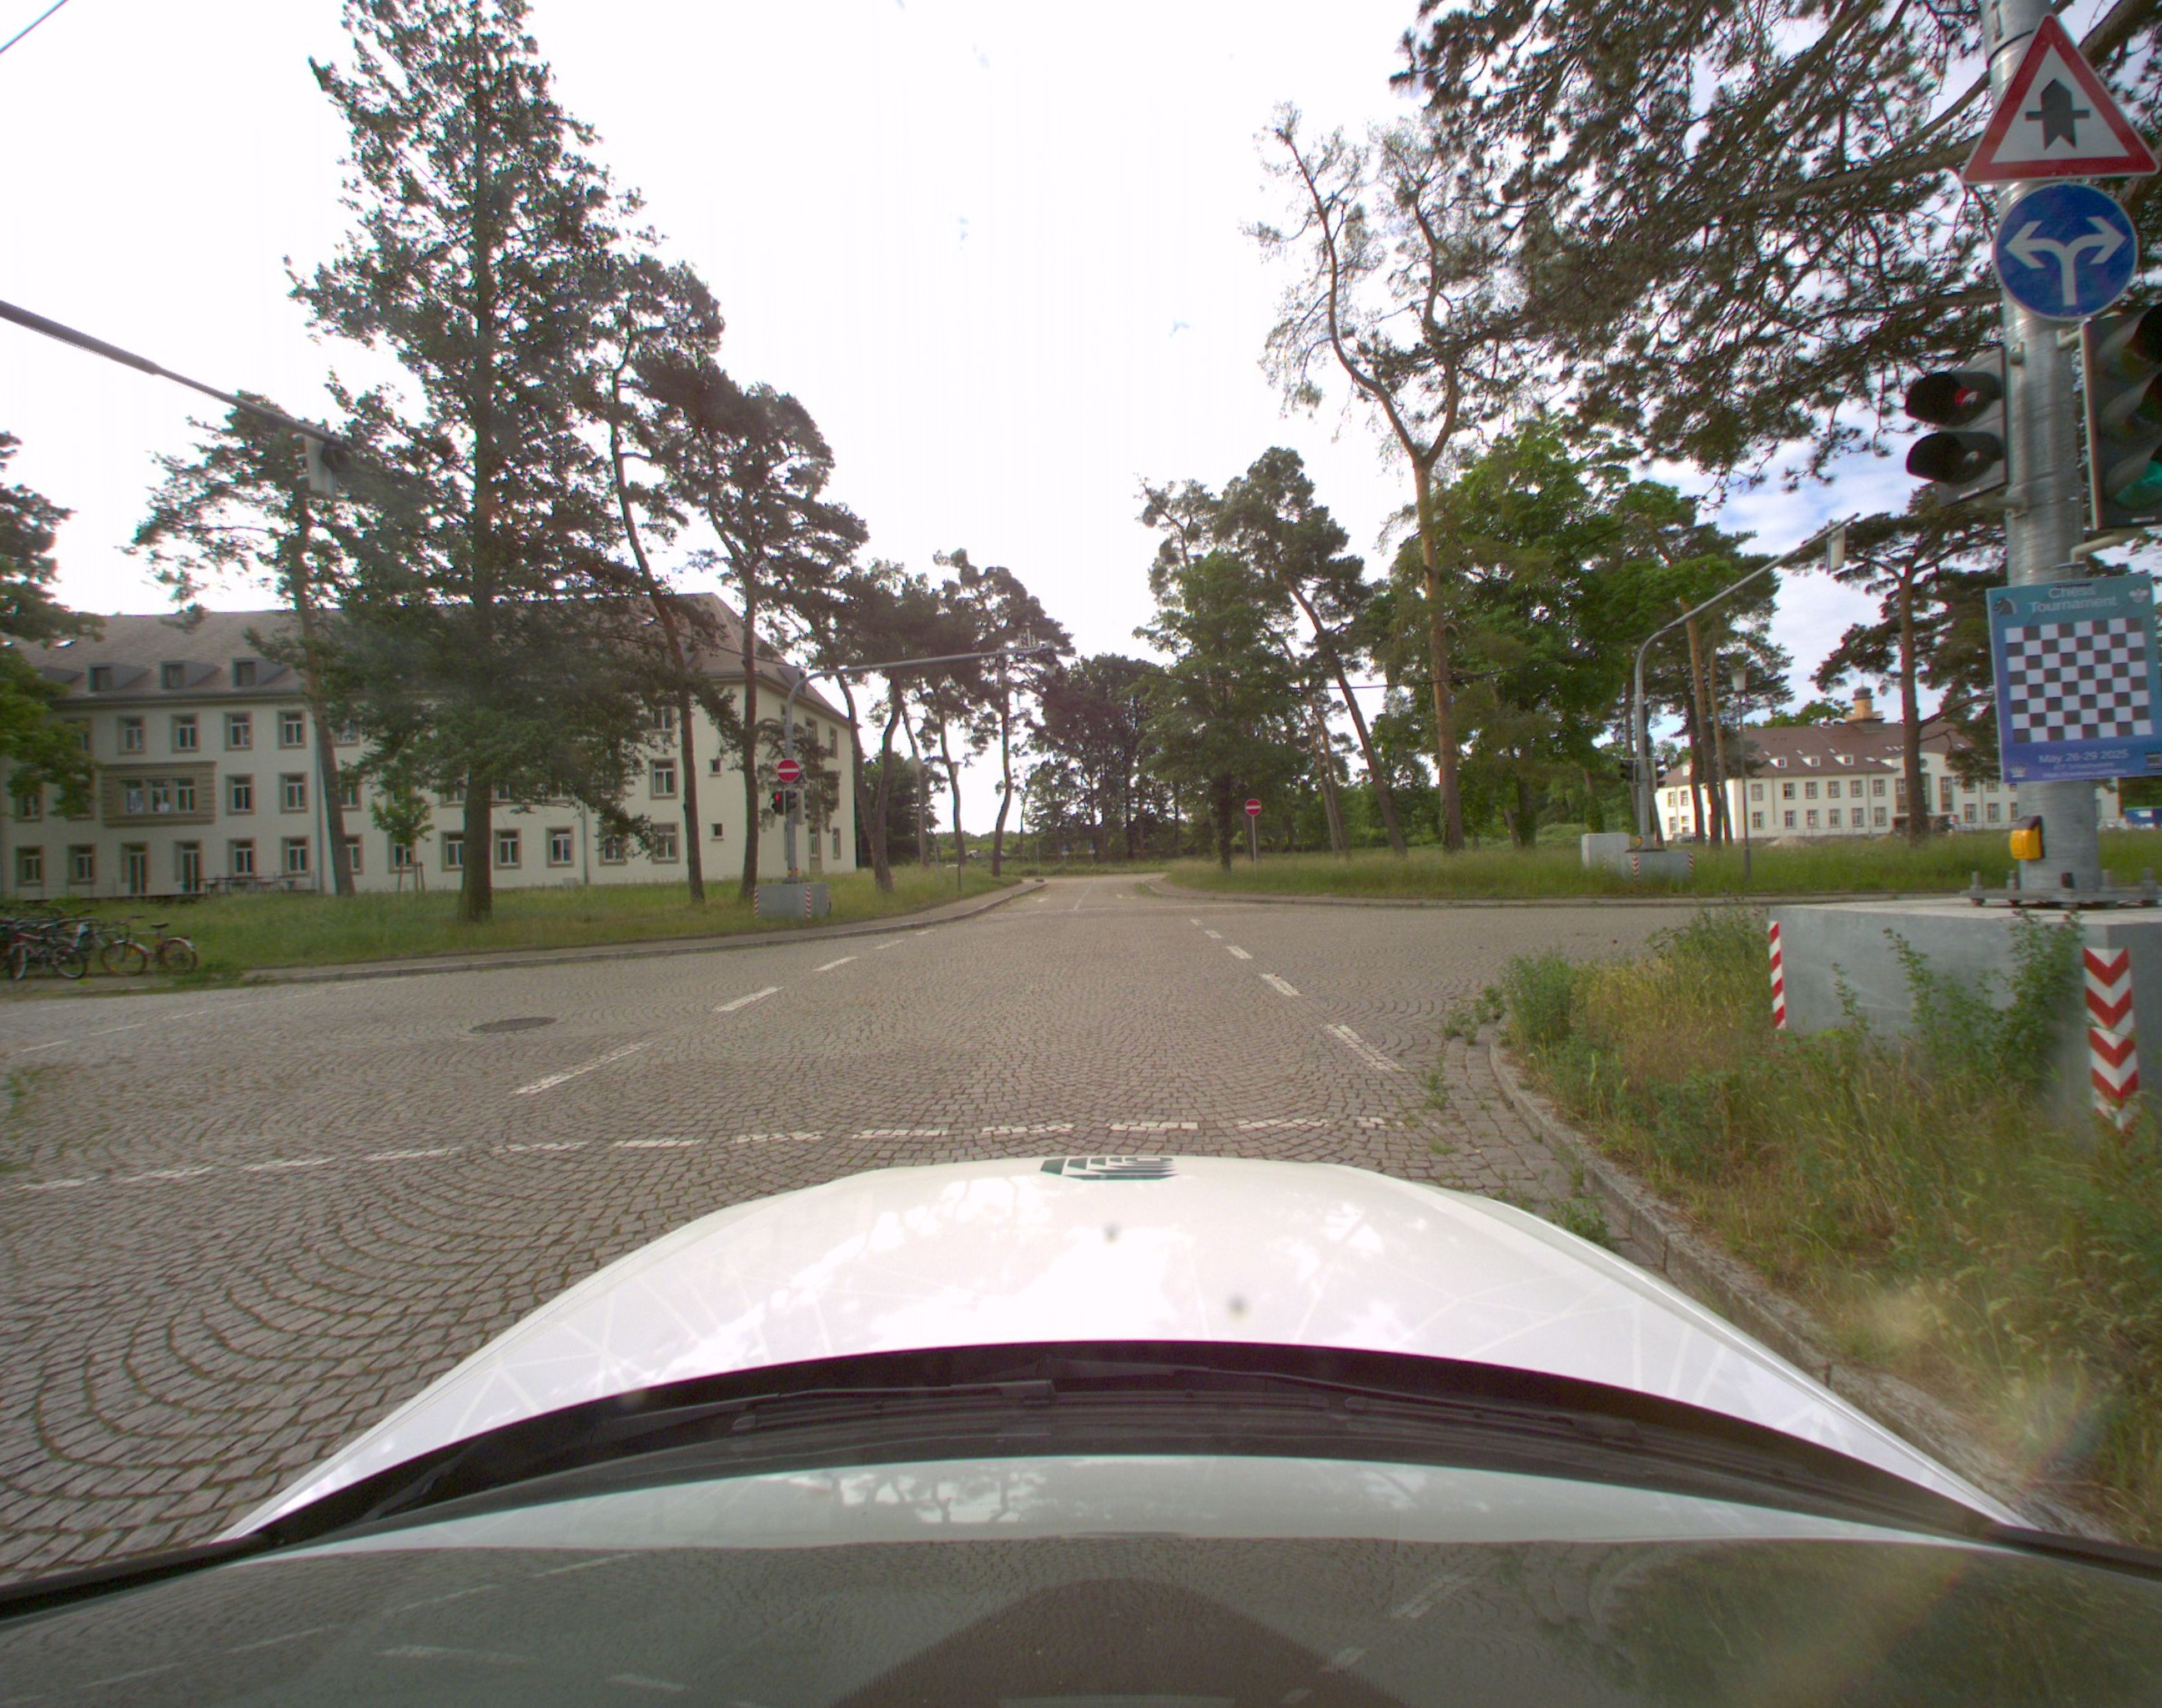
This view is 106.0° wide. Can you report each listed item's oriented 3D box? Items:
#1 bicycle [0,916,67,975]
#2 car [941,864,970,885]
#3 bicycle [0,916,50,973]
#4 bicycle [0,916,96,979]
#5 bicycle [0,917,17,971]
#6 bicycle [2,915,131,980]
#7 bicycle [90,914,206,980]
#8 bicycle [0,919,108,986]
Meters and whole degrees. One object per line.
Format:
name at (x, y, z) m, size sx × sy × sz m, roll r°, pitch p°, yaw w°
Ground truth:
bicycle at (-21.228, 1.825, 16.015) m, size 0.512 × 1.079 × 1.586 m, roll -3°, pitch -1°, yaw 2°
car at (-11.126, 1.797, 72.431) m, size 1.987 × 1.846 × 3.998 m, roll -1°, pitch 0°, yaw -1°
bicycle at (-21.589, 1.828, 16.027) m, size 0.512 × 1.079 × 1.586 m, roll -3°, pitch -1°, yaw 2°
bicycle at (-20.528, 1.816, 15.909) m, size 0.512 × 1.079 × 1.587 m, roll -3°, pitch -1°, yaw 5°
bicycle at (-22.220, 1.845, 15.992) m, size 0.512 × 1.079 × 1.586 m, roll -3°, pitch -1°, yaw 2°
bicycle at (-19.848, 1.810, 15.985) m, size 0.513 × 1.079 × 1.585 m, roll -3°, pitch -1°, yaw -1°
bicycle at (-16.840, 1.663, 14.711) m, size 1.460 × 1.065 × 0.516 m, roll -3°, pitch -1°, yaw 0°
bicycle at (-18.478, 1.754, 14.574) m, size 1.460 × 1.079 × 0.516 m, roll -3°, pitch -1°, yaw 0°
